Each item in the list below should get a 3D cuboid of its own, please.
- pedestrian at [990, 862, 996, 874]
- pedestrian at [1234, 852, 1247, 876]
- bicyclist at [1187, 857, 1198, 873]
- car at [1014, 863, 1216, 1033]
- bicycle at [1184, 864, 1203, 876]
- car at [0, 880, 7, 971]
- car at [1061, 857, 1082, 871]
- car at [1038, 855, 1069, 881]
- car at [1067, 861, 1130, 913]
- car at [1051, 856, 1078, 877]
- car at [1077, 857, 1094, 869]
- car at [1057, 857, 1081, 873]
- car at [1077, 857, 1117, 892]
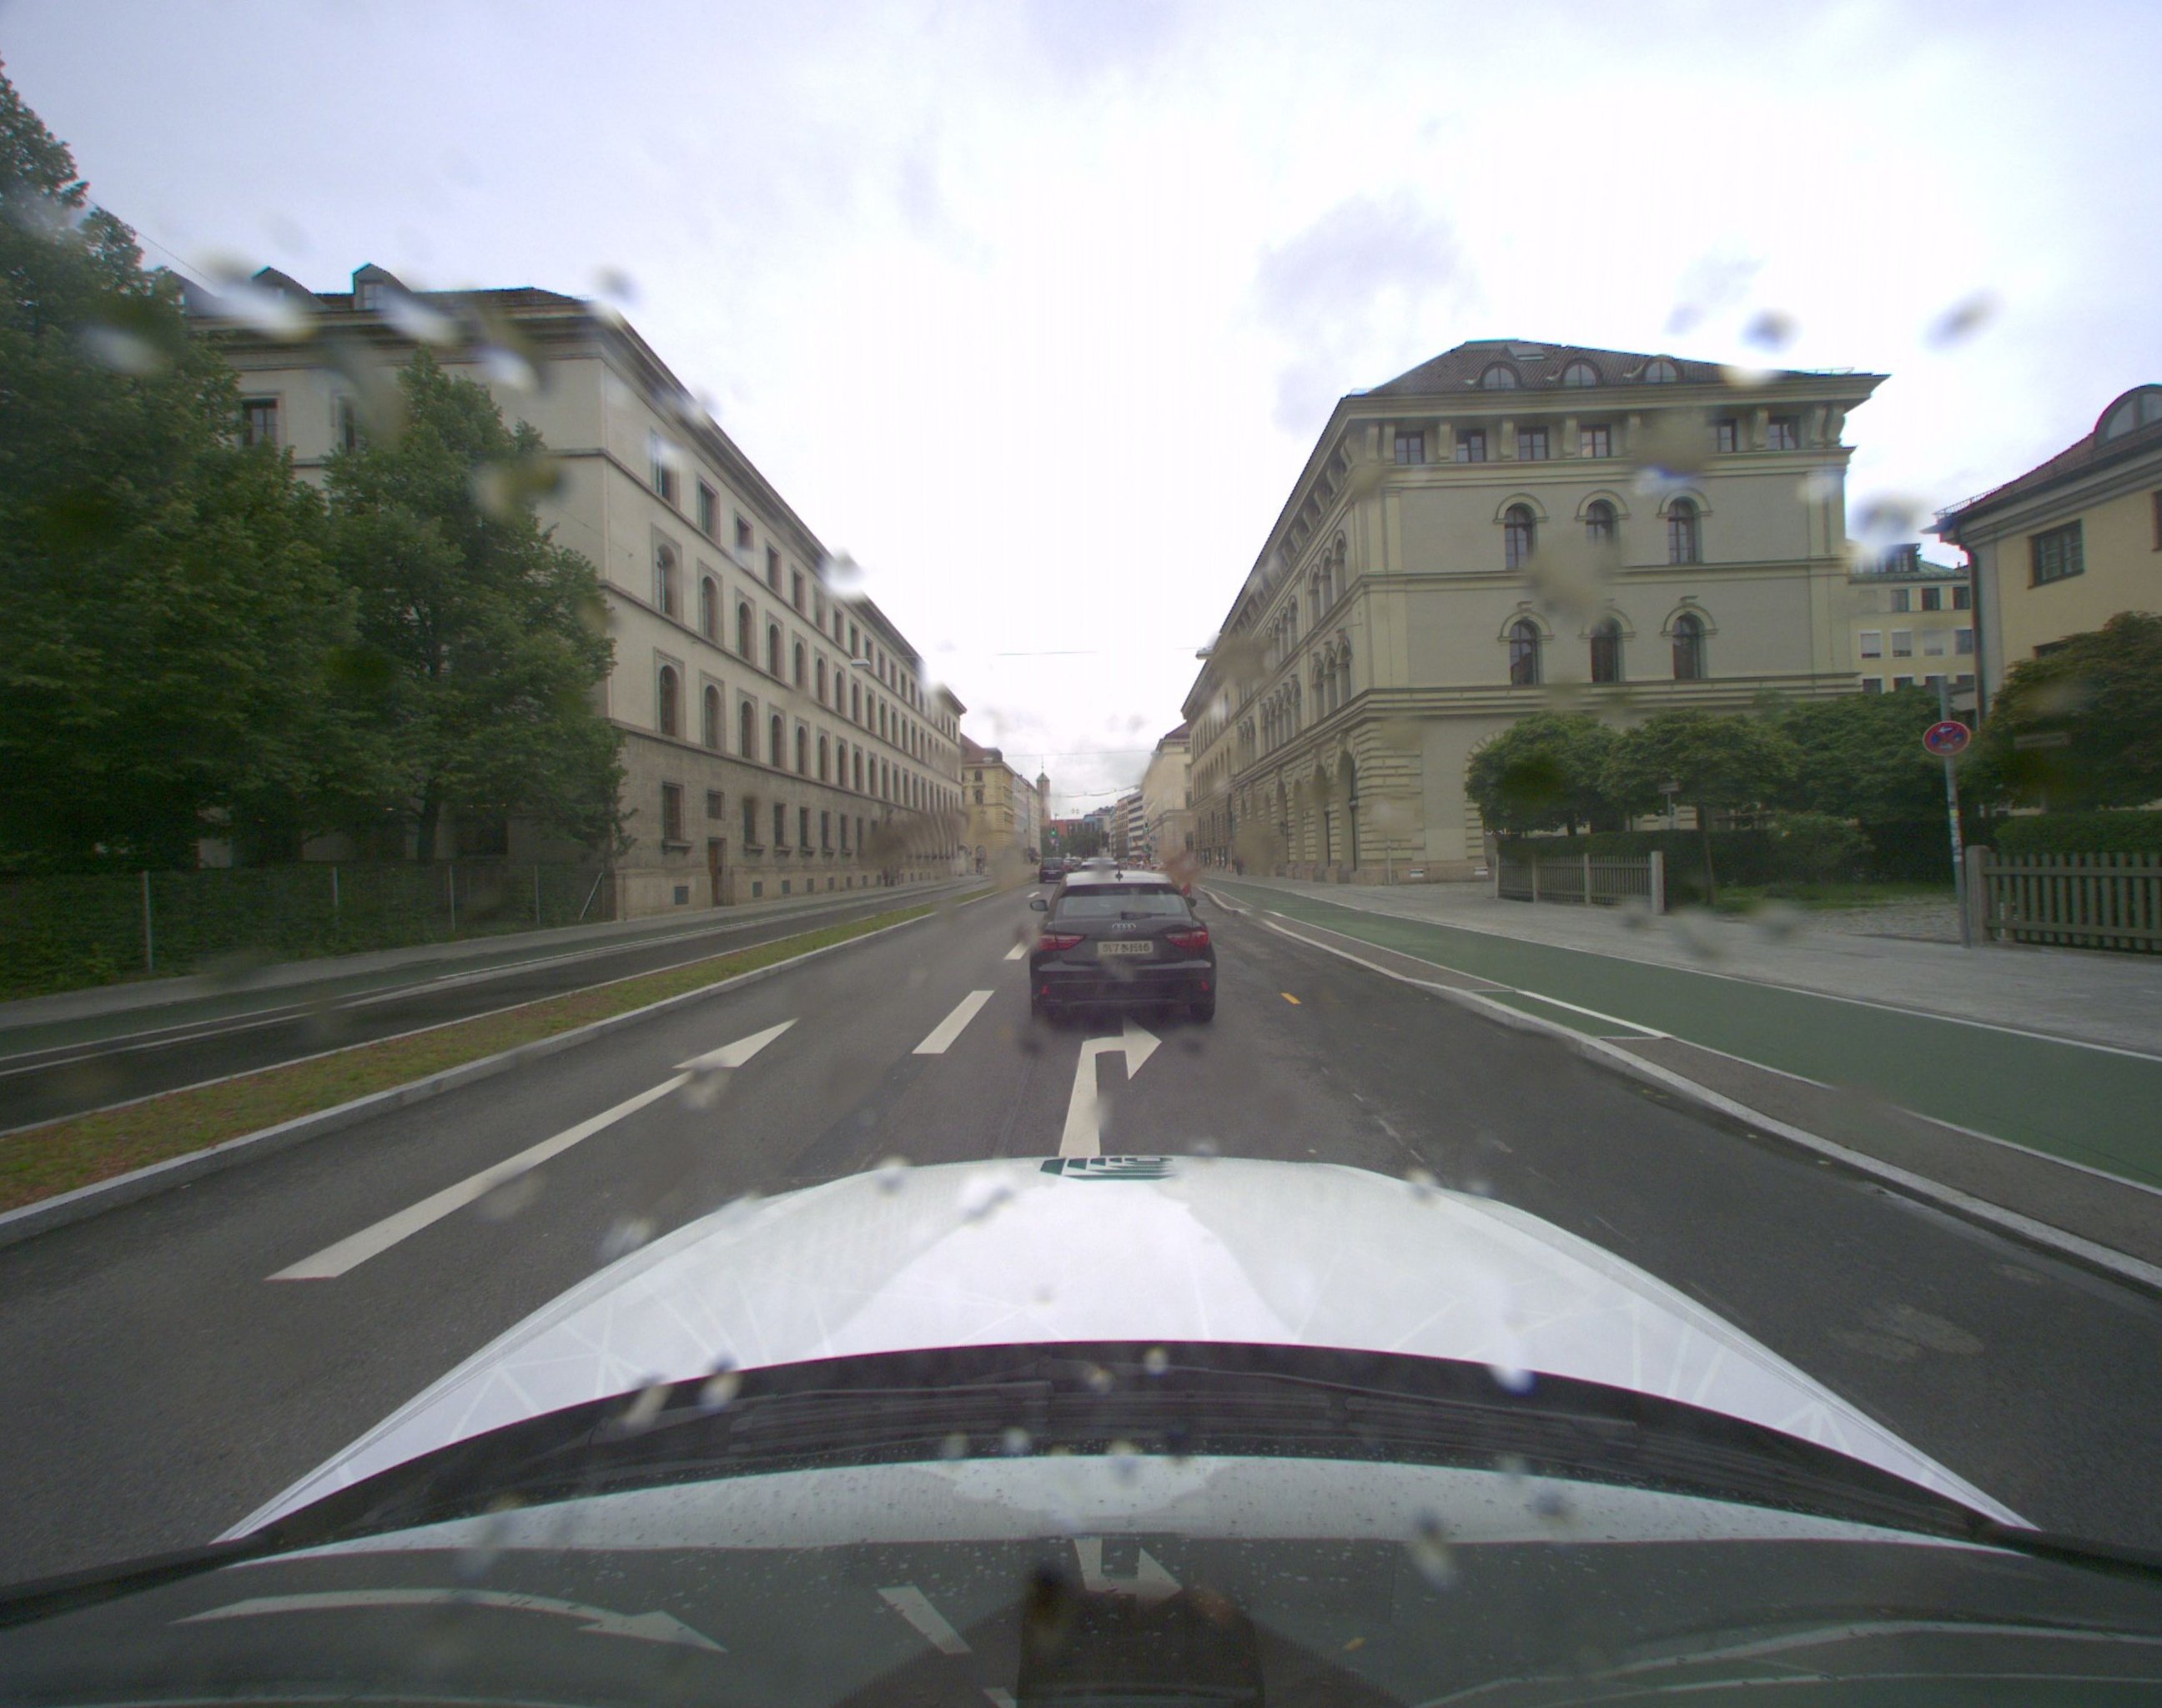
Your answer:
[{"bbox_3d":[-13.306,2.115,123.198,0.653,1.805,0.727,-2,-1,1],"label":"pedestrian"},{"bbox_3d":[10.967,0.662,55.939,0.707,1.618,0.754,-2,-1,1],"label":"pedestrian"},{"bbox_3d":[10.840,1.092,79.225,0.713,1.500,0.748,-1,-1,-25],"label":"bicyclist"},{"bbox_3d":[0.345,0.826,8.976,1.724,1.403,4.001,0,0,1],"label":"car"},{"bbox_3d":[10.899,1.583,79.122,0.732,1.156,2.153,-2,0,-25],"label":"bicycle"},{"bbox_3d":[-21.889,1.386,14.073,4.247,1.649,1.805,-2,0,1],"label":"car"},{"bbox_3d":[-1.000,1.036,88.892,1.986,1.444,4.002,-2,0,2],"label":"car"},{"bbox_3d":[-1.754,0.892,53.290,1.758,1.616,4.031,-1,0,1],"label":"car"},{"bbox_3d":[0.544,0.937,24.539,1.724,1.403,4.001,0,0,1],"label":"car"},{"bbox_3d":[-1.299,1.008,65.875,1.986,1.627,4.002,-2,0,2],"label":"car"},{"bbox_3d":[0.641,1.139,102.652,1.986,1.444,4.002,-2,0,2],"label":"car"},{"bbox_3d":[-1.109,0.995,77.253,1.986,1.444,4.002,-2,0,2],"label":"car"},{"bbox_3d":[0.736,0.893,37.213,1.724,1.461,4.001,0,0,1],"label":"car"}]
